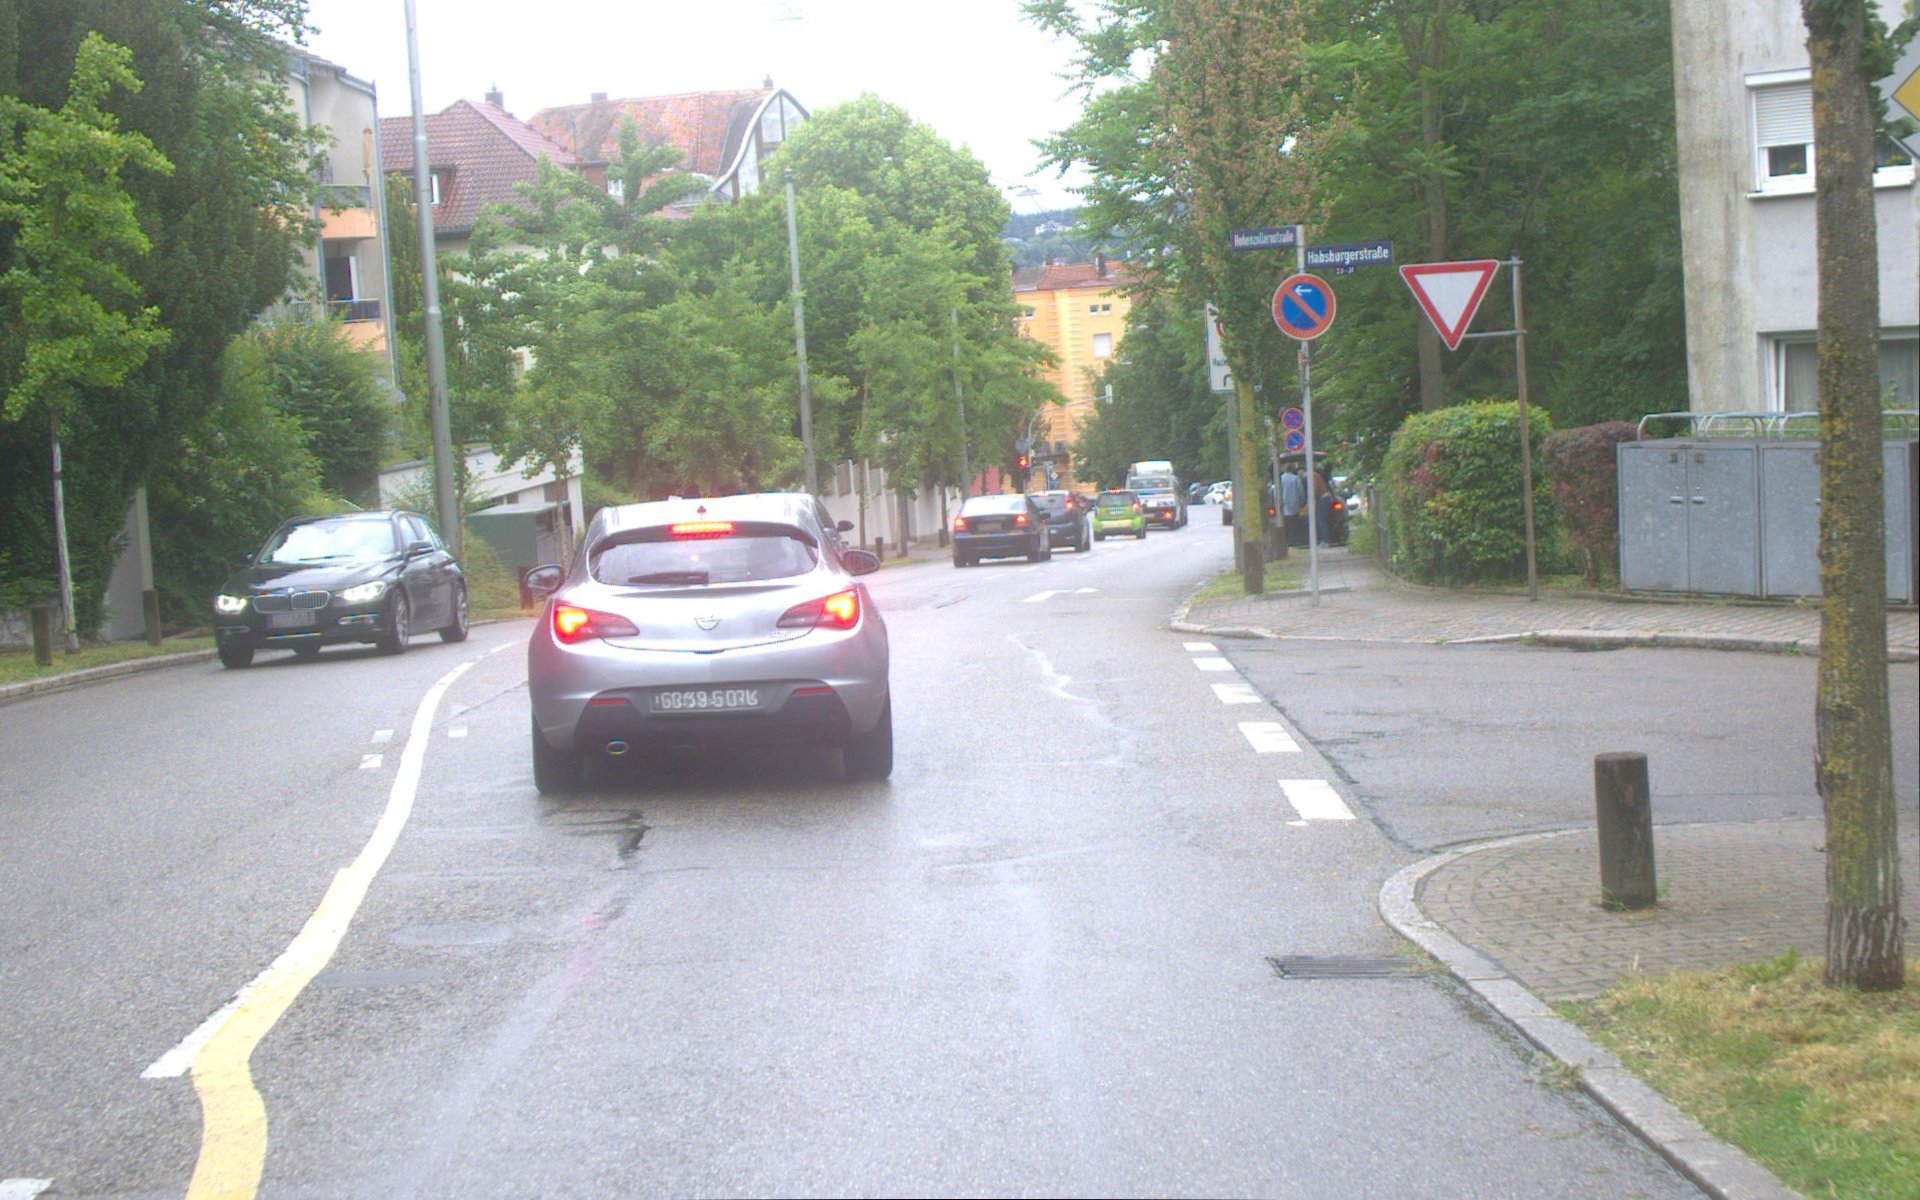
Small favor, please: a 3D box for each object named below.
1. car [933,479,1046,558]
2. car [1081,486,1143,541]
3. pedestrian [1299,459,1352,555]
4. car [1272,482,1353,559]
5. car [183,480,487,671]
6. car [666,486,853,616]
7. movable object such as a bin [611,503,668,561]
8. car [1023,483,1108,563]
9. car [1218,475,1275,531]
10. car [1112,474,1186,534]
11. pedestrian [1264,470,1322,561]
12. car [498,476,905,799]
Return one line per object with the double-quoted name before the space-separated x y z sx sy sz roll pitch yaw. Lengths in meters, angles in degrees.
"car" 0.627 -1.653 68.550 1.961 1.467 3.951 0 2 5
"car" 4.694 -2.659 106.024 1.754 1.645 4.000 0 1 5
"pedestrian" 7.303 -1.855 68.680 0.663 1.830 0.689 -7 2 -18
"car" 7.248 -1.636 70.920 1.504 1.430 3.999 -4 1 5
"car" -6.179 -0.289 34.542 1.911 1.579 4.587 -7 1 2
"car" -2.273 -0.605 39.900 1.798 1.318 4.000 -2 2 1
"movable object such as a bin" -7.916 -1.680 84.846 1.272 1.382 0.489 -2 2 5
"car" 2.494 -1.818 80.437 1.769 1.775 3.976 0 2 5
"car" 10.909 -3.715 130.699 1.994 2.029 4.734 0 2 7
"car" 6.751 -3.435 122.499 2.334 2.029 4.734 0 2 7
"pedestrian" 6.642 -1.681 68.525 0.734 1.717 0.765 -7 2 -19
"car" -1.288 0.114 18.690 1.945 1.426 3.885 -1 4 -1
